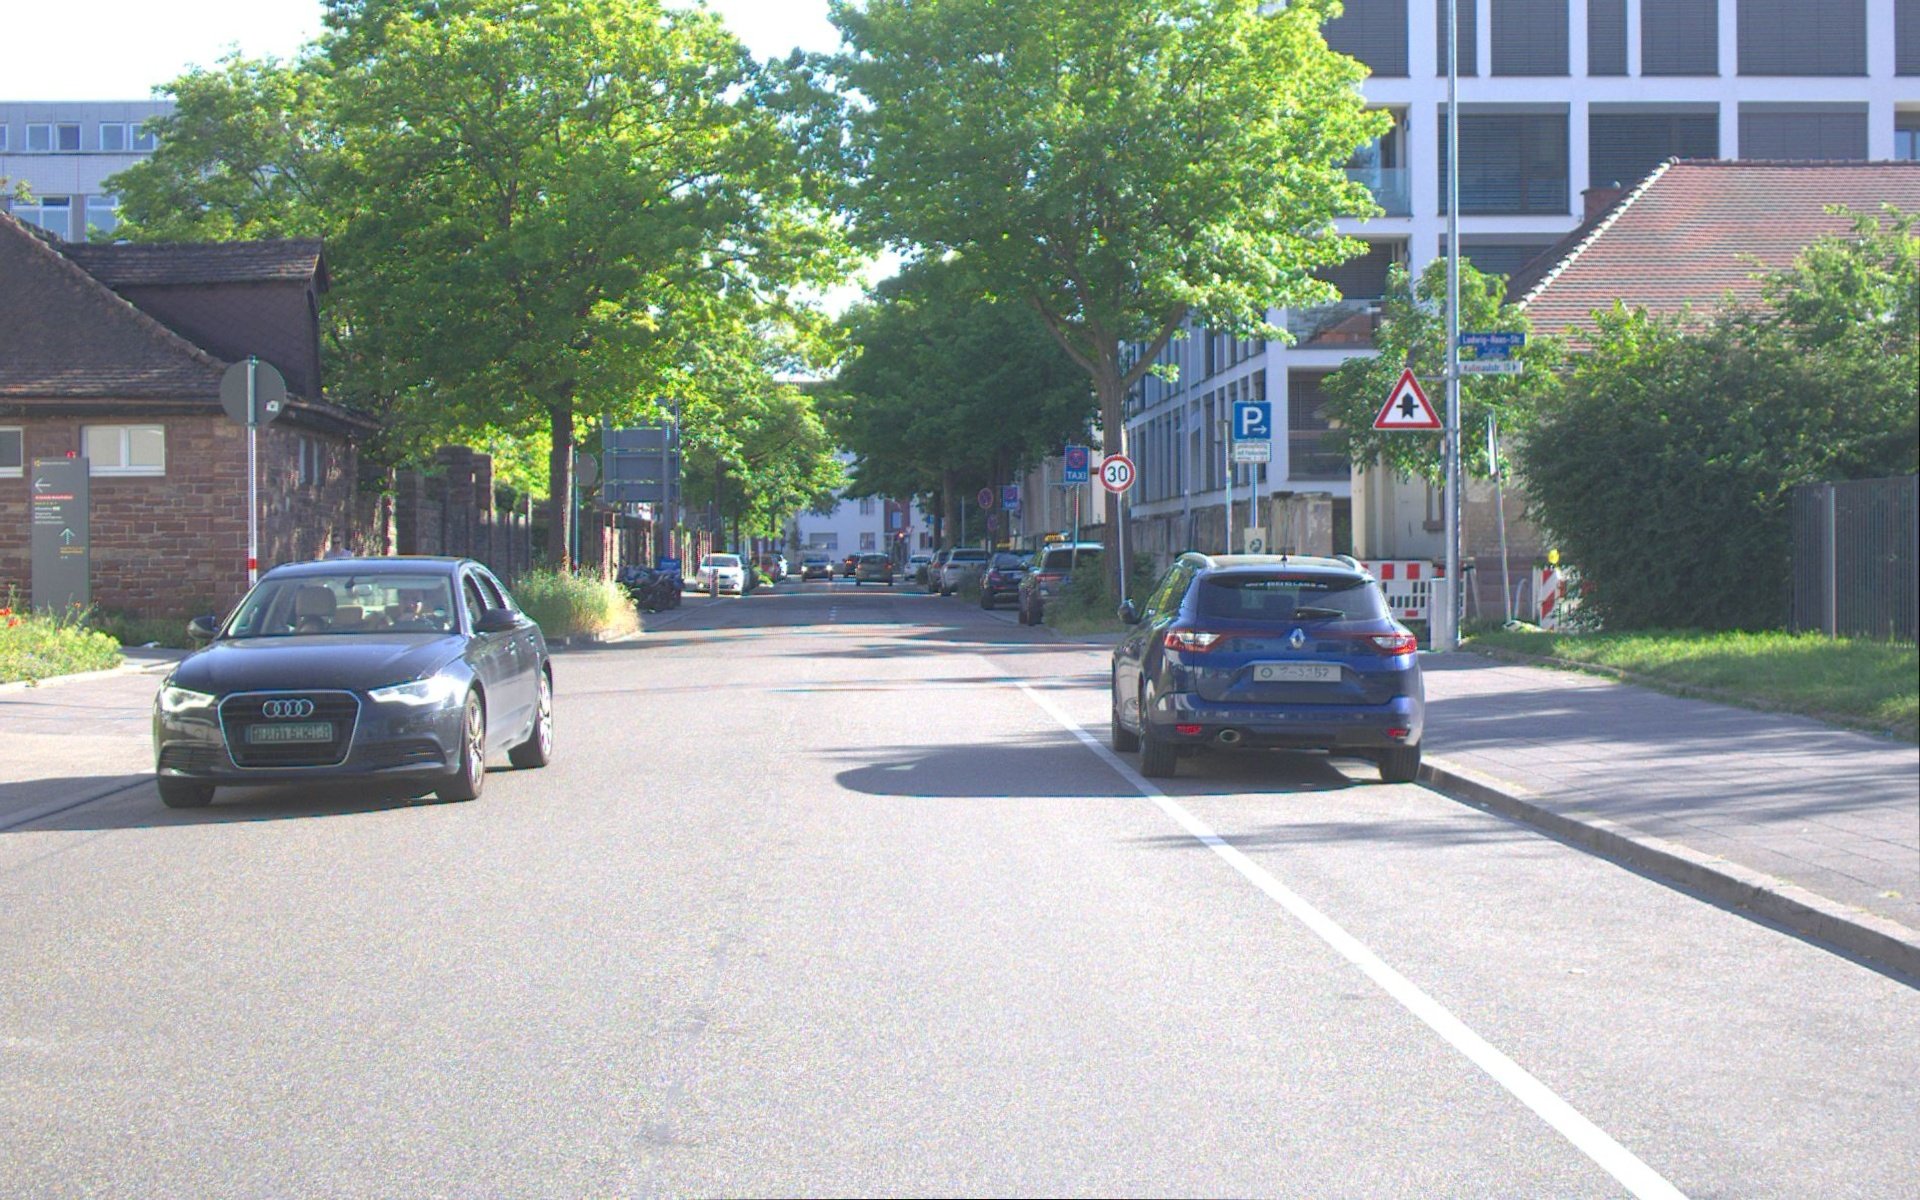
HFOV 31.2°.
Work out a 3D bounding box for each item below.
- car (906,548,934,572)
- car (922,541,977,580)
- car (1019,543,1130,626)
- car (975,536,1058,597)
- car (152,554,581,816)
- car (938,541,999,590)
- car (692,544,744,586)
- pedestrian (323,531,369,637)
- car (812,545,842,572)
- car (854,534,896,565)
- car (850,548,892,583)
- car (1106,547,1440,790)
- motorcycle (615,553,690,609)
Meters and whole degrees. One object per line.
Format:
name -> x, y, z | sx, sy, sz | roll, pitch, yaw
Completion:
car -> -2.253, -2.268, 194.309 | 1.585, 1.395, 3.837 | 0, 1, -1
car -> -0.401, -1.490, 128.986 | 1.993, 1.460, 3.837 | 0, 1, -1
car -> 2.063, -0.306, 63.038 | 1.703, 1.463, 4.789 | 0, 1, -2
car -> 1.355, -0.829, 84.329 | 1.767, 1.435, 4.001 | -1, 1, -3
car -> -3.616, 0.452, 21.742 | 1.762, 1.437, 4.537 | -1, 1, 2
car -> 0.257, -1.152, 113.270 | 1.950, 1.573, 3.837 | 0, 1, -1
car -> -8.744, -1.288, 124.397 | 1.767, 1.482, 4.001 | -1, 1, -3
pedestrian -> -9.086, -0.250, 50.912 | 0.521, 1.557, 1.096 | 0, 1, -2
car -> -7.559, -2.371, 195.357 | 1.653, 1.525, 4.000 | 0, 1, -2
car -> -3.887, -2.340, 157.224 | 1.889, 1.395, 3.837 | 0, 1, -1
car -> -4.072, -1.581, 156.929 | 1.767, 1.543, 4.066 | -1, 1, -3
car -> 2.026, 0.392, 23.341 | 1.817, 1.448, 4.214 | -1, 1, -1
motorcycle -> -7.221, -0.453, 80.832 | 0.577, 1.271, 2.118 | 0, 1, 32
